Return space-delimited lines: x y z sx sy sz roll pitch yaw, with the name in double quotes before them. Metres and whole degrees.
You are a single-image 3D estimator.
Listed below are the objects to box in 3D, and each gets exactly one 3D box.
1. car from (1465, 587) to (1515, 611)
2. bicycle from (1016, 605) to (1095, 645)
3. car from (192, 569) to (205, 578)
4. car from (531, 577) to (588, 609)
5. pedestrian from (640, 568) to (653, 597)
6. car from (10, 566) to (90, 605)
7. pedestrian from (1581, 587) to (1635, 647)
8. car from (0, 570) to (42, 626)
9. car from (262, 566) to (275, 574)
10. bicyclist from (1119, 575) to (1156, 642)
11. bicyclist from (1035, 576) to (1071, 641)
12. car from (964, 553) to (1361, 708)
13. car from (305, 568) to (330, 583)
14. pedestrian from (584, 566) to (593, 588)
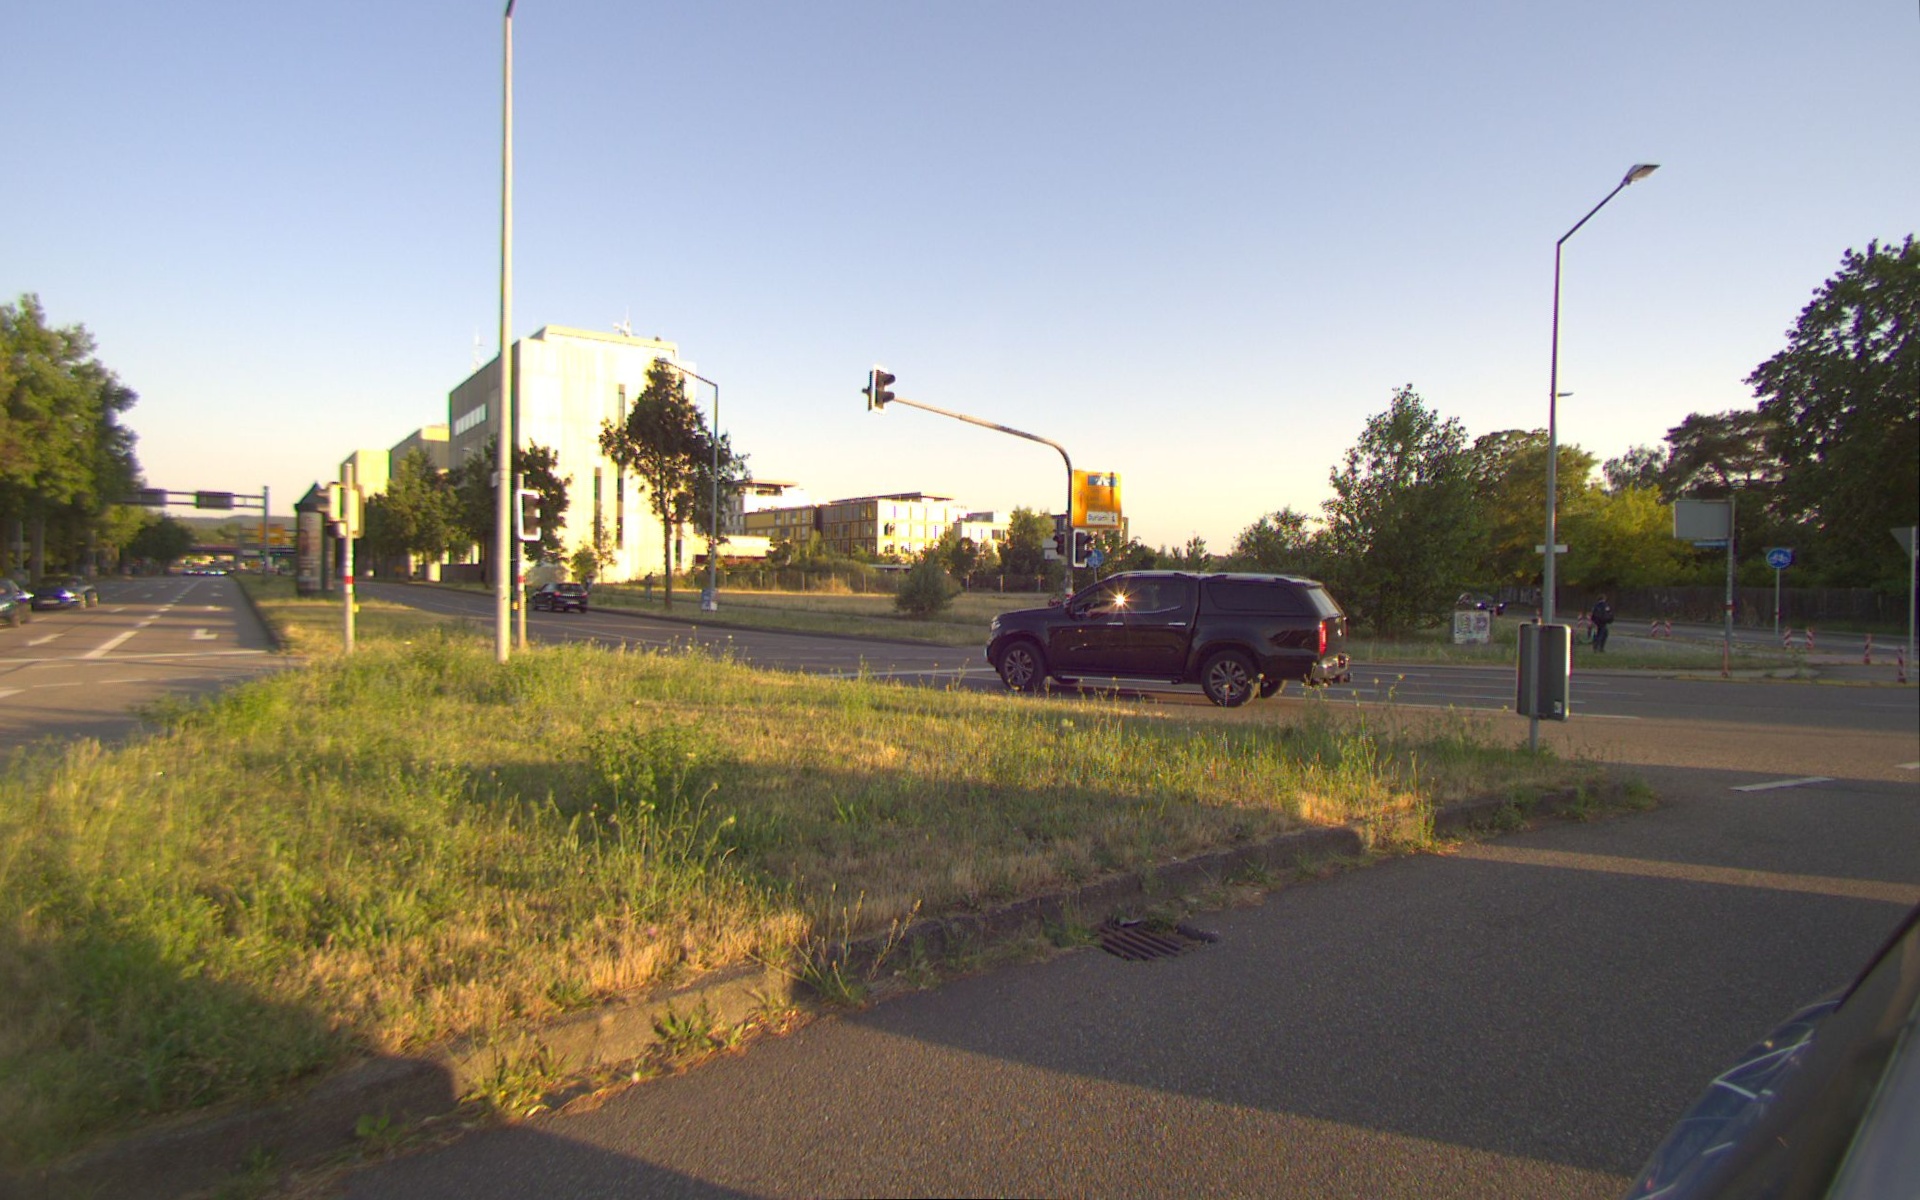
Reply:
"car" 34.865 -0.113 66.678 1.970 1.504 3.983 1 1 14
"bicycle" 2.598 0.663 27.350 2.065 0.975 0.711 -2 2 -27
"car" -148.894 -5.205 197.922 1.964 1.803 3.995 0 0 -39
"car" -18.943 -0.352 47.774 1.717 1.396 4.129 0 2 -33
"pedestrian" -18.440 -1.035 59.555 0.555 1.705 0.520 0 1 -35
"car" -37.268 -0.618 41.563 1.963 1.524 4.771 0 1 -36
"pedestrian" 17.894 0.462 27.976 0.977 1.610 0.923 1 1 13
"car" -28.617 -0.110 29.705 1.962 1.523 4.621 1 1 -36
"car" -142.077 -6.197 207.816 1.963 1.649 3.998 0 1 -37
"bicyclist" 4.598 0.213 26.267 0.674 1.711 0.727 1 1 -13
"bicyclist" 2.512 0.212 27.332 0.675 1.711 0.726 0 1 -29
"car" 2.825 0.311 14.648 5.264 1.835 1.978 2 1 31
"car" -63.950 -2.447 100.675 1.659 1.437 3.997 -1 2 -39
"pedestrian" -25.908 -1.630 70.610 0.492 1.531 0.530 0 1 -35
